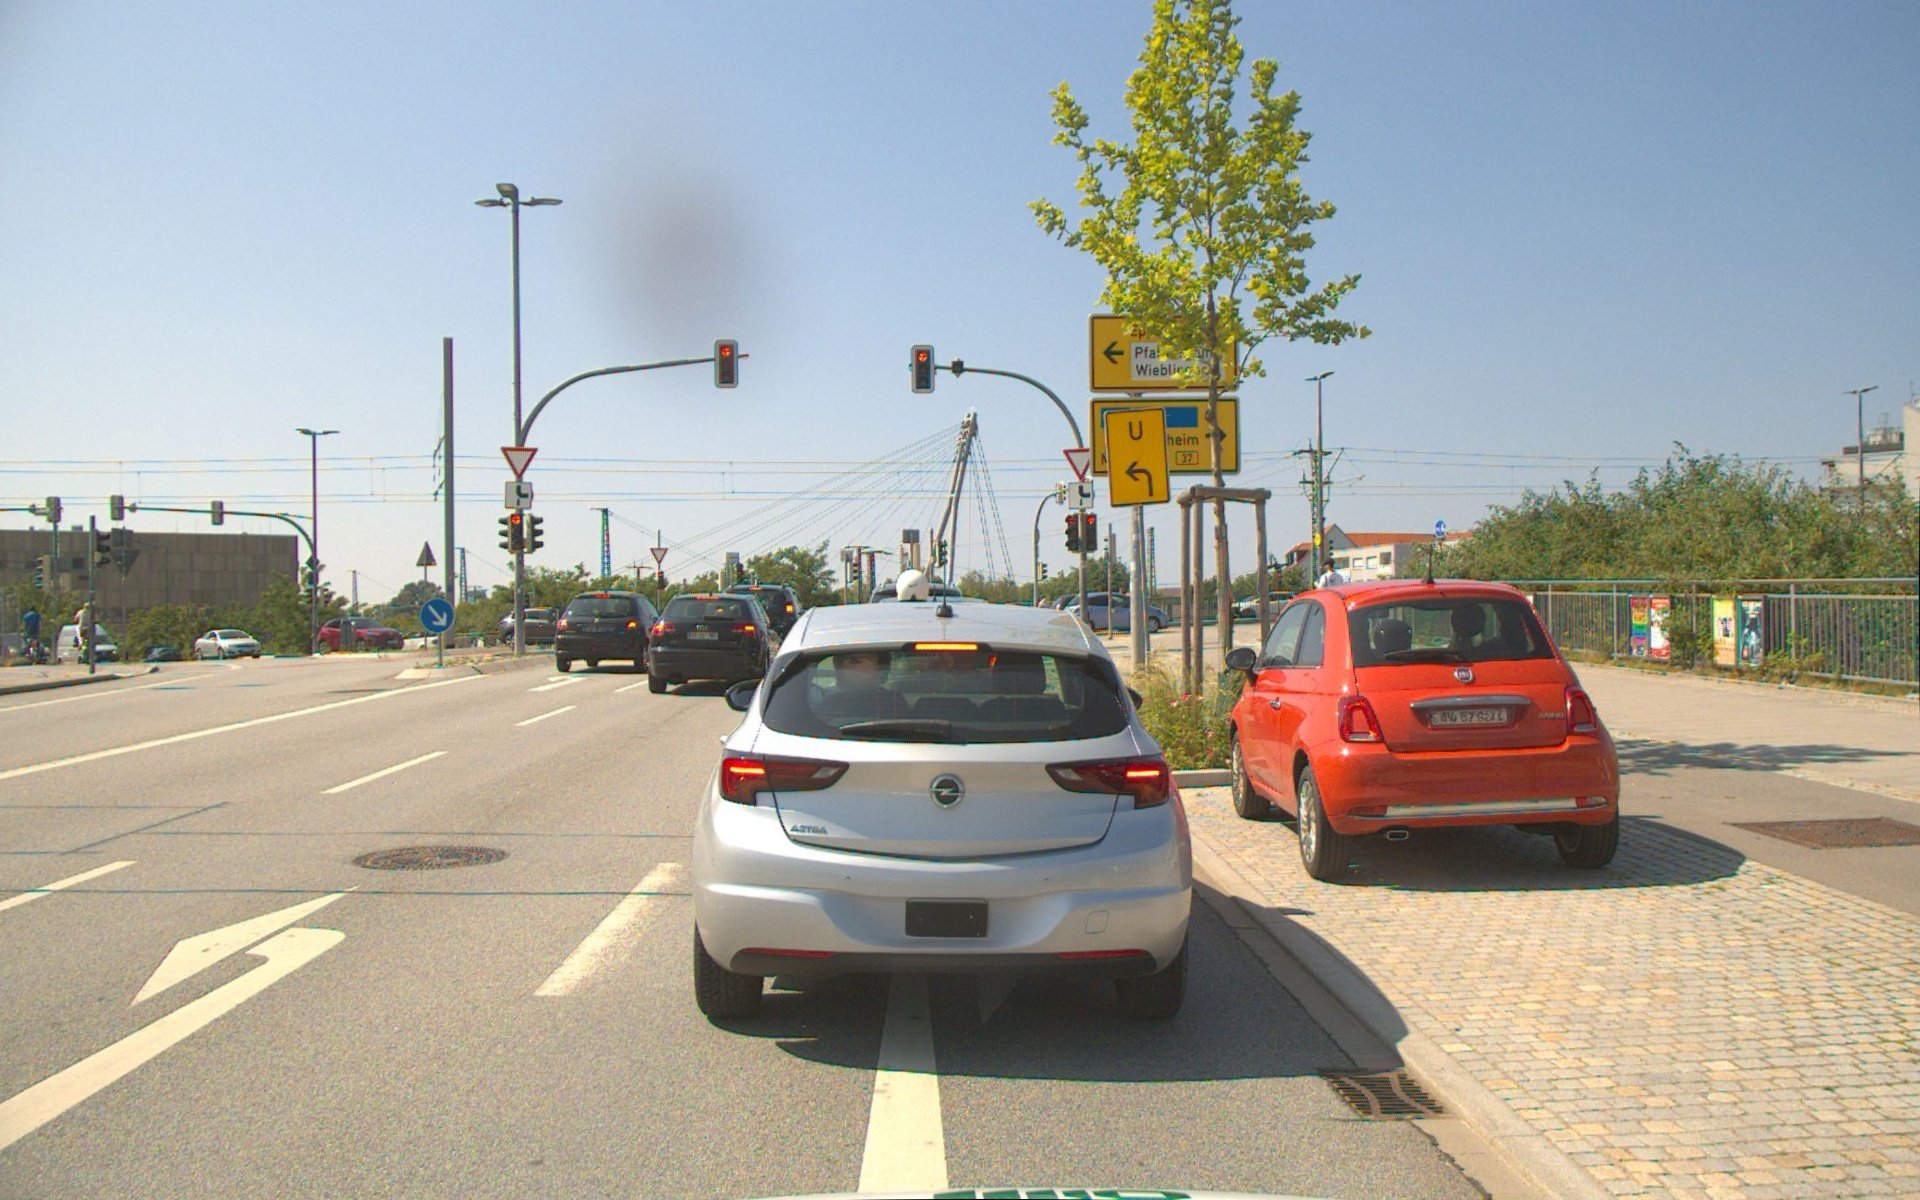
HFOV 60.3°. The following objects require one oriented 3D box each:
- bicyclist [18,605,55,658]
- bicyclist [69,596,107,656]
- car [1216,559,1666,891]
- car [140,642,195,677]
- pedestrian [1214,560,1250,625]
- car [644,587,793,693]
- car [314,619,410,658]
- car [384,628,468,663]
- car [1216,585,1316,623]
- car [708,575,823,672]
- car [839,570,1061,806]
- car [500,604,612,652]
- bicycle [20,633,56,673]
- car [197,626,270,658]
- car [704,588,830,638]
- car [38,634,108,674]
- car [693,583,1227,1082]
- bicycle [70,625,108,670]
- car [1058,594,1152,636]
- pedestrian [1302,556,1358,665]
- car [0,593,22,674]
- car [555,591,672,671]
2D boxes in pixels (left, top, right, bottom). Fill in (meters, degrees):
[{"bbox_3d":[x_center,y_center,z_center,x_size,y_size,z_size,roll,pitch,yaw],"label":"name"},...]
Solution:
[{"bbox_3d":[-27.887,0.956,49.936,0.853,1.587,0.815,2,-1,-35],"label":"bicyclist"},{"bbox_3d":[-23.399,0.700,44.381,0.812,1.596,0.938,2,-1,-33],"label":"bicyclist"},{"bbox_3d":[2.652,0.590,10.039,1.635,1.566,3.917,-2,1,1],"label":"car"},{"bbox_3d":[-49.923,3.738,104.146,3.933,2.049,1.986,0,-1,45],"label":"car"},{"bbox_3d":[8.062,-0.222,49.079,0.733,1.896,0.745,2,-1,-34],"label":"pedestrian"},{"bbox_3d":[-3.553,0.579,24.989,1.671,1.437,3.999,2,-1,-1],"label":"car"},{"bbox_3d":[-24.912,1.593,68.892,3.914,1.481,1.681,1,-1,31],"label":"car"},{"bbox_3d":[-27.083,2.297,83.867,4.119,1.674,1.829,1,-1,32],"label":"car"},{"bbox_3d":[14.329,0.208,77.535,4.180,1.703,1.990,1,-1,-18],"label":"car"},{"bbox_3d":[-3.679,0.450,31.823,1.767,1.650,3.915,-3,-1,-2],"label":"car"},{"bbox_3d":[-0.121,0.674,14.126,1.602,1.703,3.743,1,-1,-2],"label":"car"},{"bbox_3d":[-15.782,1.069,64.588,4.118,1.771,1.715,1,-1,28],"label":"car"},{"bbox_3d":[-27.951,1.594,50.111,0.720,1.154,2.502,1,-2,-34],"label":"bicycle"},{"bbox_3d":[-33.522,1.923,76.308,3.650,1.356,1.760,1,-1,43],"label":"car"},{"bbox_3d":[-7.369,0.490,63.370,4.452,1.815,2.001,1,-1,4],"label":"car"},{"bbox_3d":[-47.927,2.888,89.386,3.916,2.049,1.605,1,-1,33],"label":"car"},{"bbox_3d":[-0.046,0.731,7.293,1.656,1.546,4.269,0,0,-1],"label":"car"},{"bbox_3d":[-23.390,1.256,44.388,0.669,1.147,2.338,2,-1,-33],"label":"bicycle"},{"bbox_3d":[5.235,0.547,59.928,3.086,1.464,1.582,1,-1,-10],"label":"car"},{"bbox_3d":[6.434,0.187,28.771,0.743,1.862,0.884,1,-1,-1],"label":"pedestrian"},{"bbox_3d":[-25.664,0.842,43.432,1.653,2.049,3.957,2,-1,-31],"label":"car"},{"bbox_3d":[-6.392,0.565,30.811,1.555,1.419,3.338,0,-1,-2],"label":"car"}]
